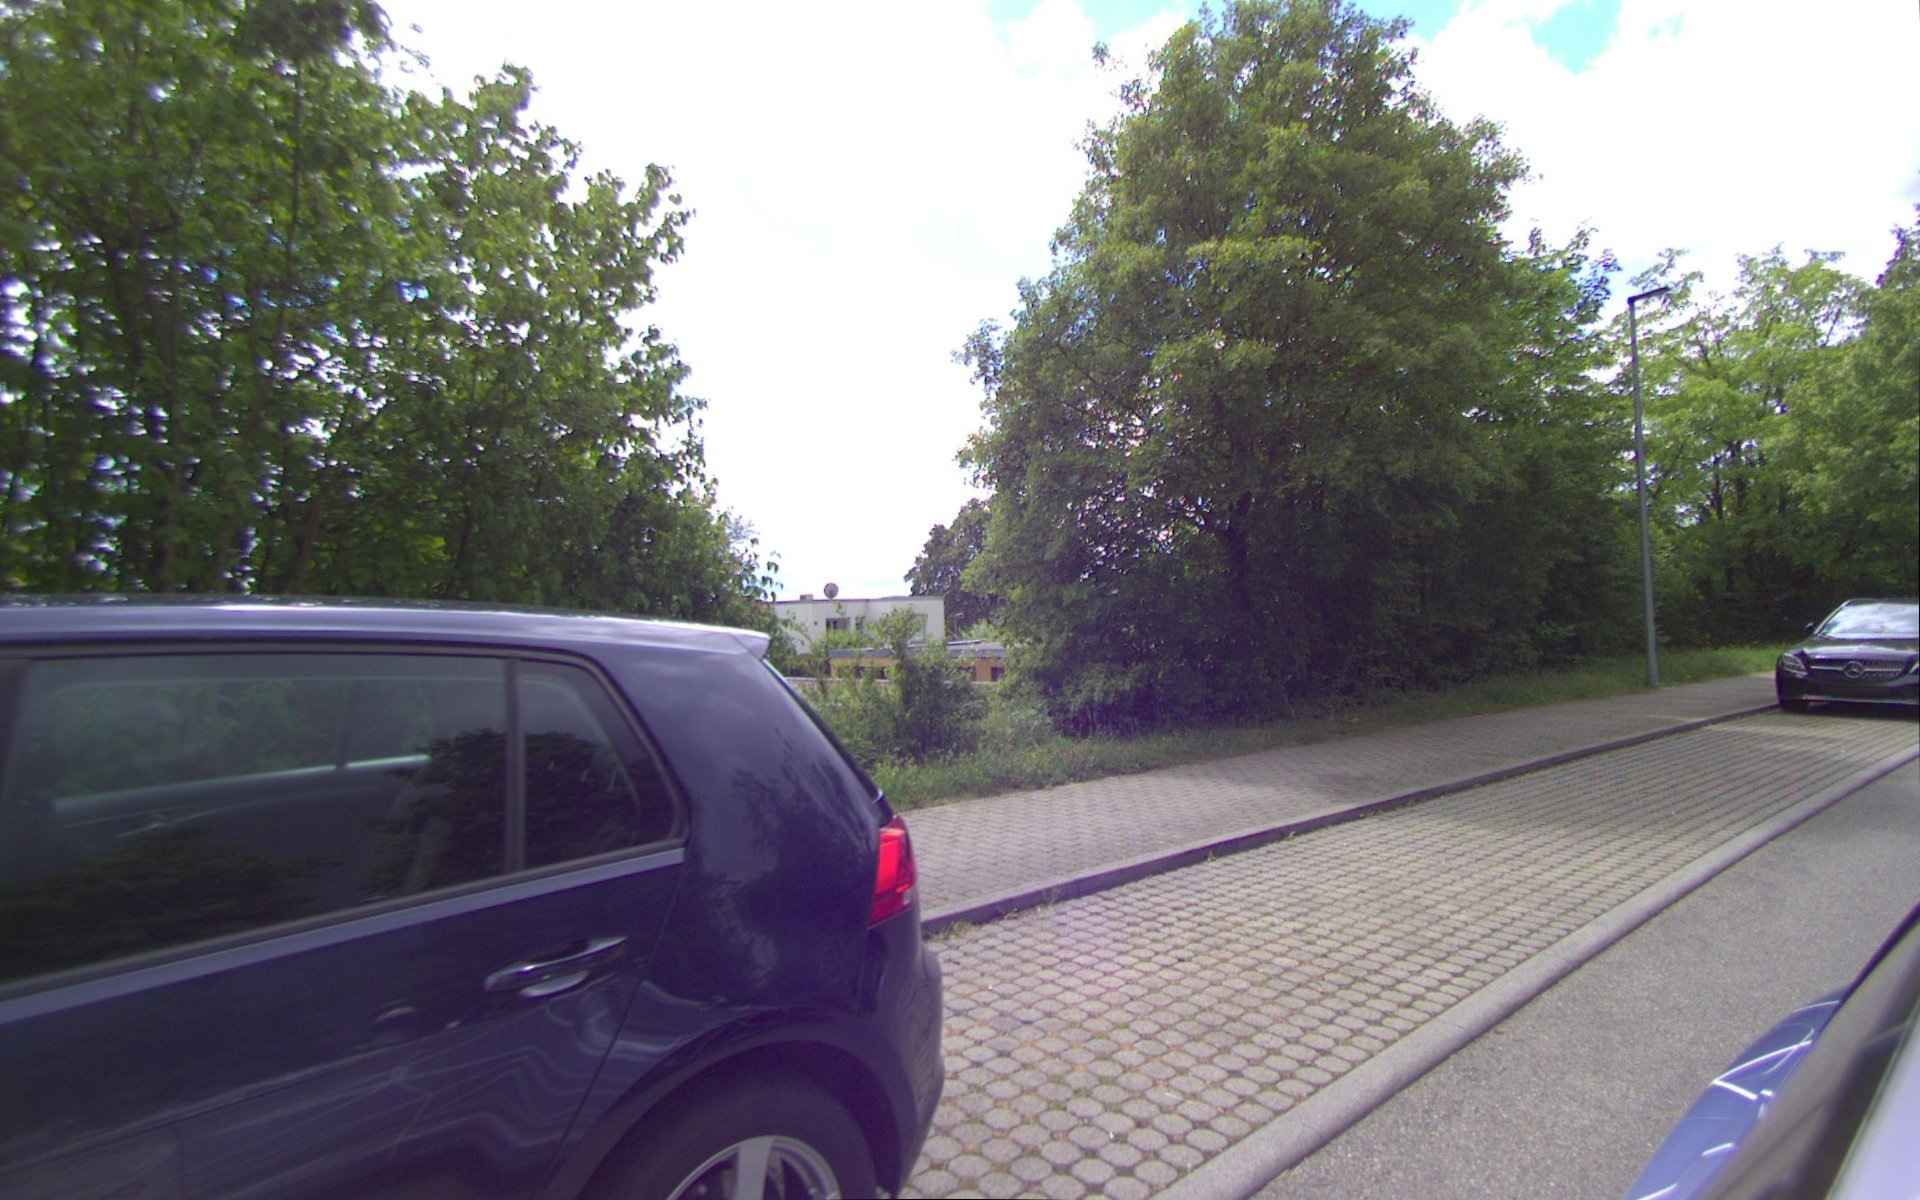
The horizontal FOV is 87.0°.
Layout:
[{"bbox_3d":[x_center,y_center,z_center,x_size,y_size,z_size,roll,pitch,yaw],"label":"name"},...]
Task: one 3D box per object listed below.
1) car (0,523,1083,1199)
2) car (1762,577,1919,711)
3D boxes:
[{"bbox_3d":[-1.911,0.671,1.387,4.404,1.469,1.683,0,-1,-43],"label":"car"},{"bbox_3d":[12.648,0.522,13.453,4.459,1.550,1.899,0,-1,-35],"label":"car"}]
